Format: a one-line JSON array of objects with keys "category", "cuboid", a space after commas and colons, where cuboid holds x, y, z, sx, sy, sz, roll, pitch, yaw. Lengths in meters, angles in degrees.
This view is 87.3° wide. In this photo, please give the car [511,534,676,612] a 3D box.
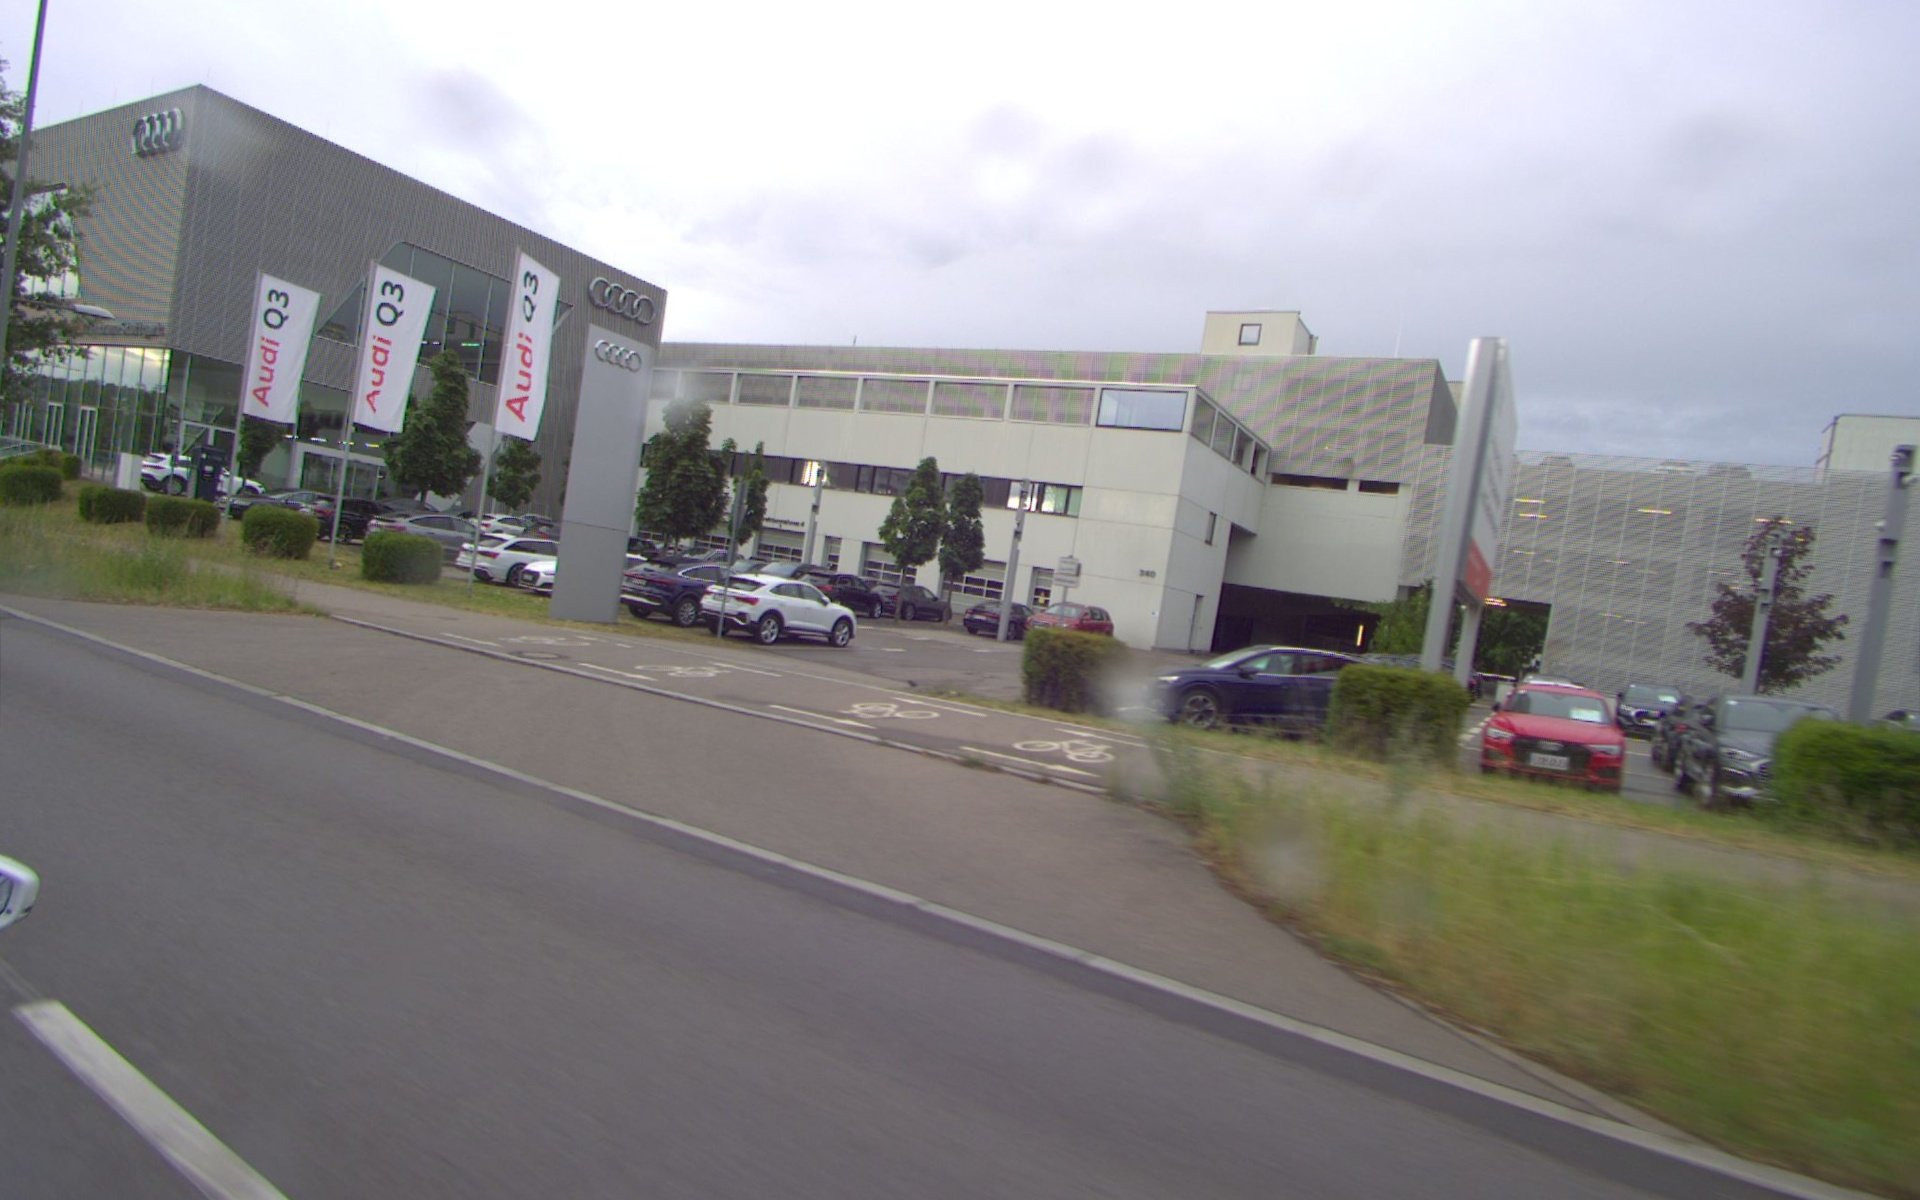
[{"category": "car", "cuboid": [-10.218, -0.702, 28.322, 1.664, 1.612, 4.114, 6, -2, 31]}]

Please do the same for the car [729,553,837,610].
[{"category": "car", "cuboid": [-6.764, -0.679, 38.817, 1.664, 1.592, 4.114, 7, -1, 31]}]

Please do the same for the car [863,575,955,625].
[{"category": "car", "cuboid": [-2.093, 0.018, 42.084, 1.664, 1.593, 4.111, 7, -1, 32]}]

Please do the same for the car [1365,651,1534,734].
[{"category": "car", "cuboid": [13.036, 2.446, 26.968, 3.496, 1.614, 1.770, 7, 2, 0]}]

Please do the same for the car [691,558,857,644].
[{"category": "car", "cuboid": [-4.438, 0.085, 24.697, 1.913, 1.612, 4.119, 6, -2, 24]}]

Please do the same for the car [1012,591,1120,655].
[{"category": "car", "cuboid": [4.097, 0.919, 38.272, 1.969, 1.877, 4.531, 7, -1, 35]}]

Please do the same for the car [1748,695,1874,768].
[{"category": "car", "cuboid": [23.839, 3.627, 28.352, 1.796, 1.612, 4.284, 6, -1, 29]}]

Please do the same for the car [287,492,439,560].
[{"category": "car", "cuboid": [-20.539, -2.519, 34.767, 1.664, 1.592, 4.114, 8, -1, 31]}]

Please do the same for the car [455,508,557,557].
[{"category": "car", "cuboid": [-21.665, -3.212, 48.125, 1.664, 1.592, 4.114, 8, -1, 31]}]

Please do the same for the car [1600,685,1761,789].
[{"category": "car", "cuboid": [14.639, 2.695, 20.713, 1.897, 1.570, 4.470, 6, 0, 27]}]

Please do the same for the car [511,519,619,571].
[{"category": "car", "cuboid": [-17.589, -2.440, 44.948, 1.795, 1.592, 4.114, 8, -1, 31]}]

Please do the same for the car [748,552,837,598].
[{"category": "car", "cuboid": [-7.690, -1.122, 46.538, 1.664, 1.593, 4.113, 7, -1, 30]}]

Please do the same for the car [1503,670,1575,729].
[{"category": "car", "cuboid": [19.155, 3.263, 33.389, 1.796, 1.612, 4.284, 6, -1, 29]}]

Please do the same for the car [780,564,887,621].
[{"category": "car", "cuboid": [-4.637, -0.249, 37.509, 1.664, 1.592, 4.113, 6, -2, 31]}]

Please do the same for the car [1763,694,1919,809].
[{"category": "car", "cuboid": [16.981, 2.801, 18.972, 1.965, 1.670, 3.994, 6, 0, 28]}]

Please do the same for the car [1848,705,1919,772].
[{"category": "car", "cuboid": [26.591, 3.887, 27.992, 1.796, 1.612, 4.284, 6, -1, 29]}]

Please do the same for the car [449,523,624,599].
[{"category": "car", "cuboid": [-12.342, -1.078, 29.605, 1.664, 1.613, 4.527, 6, -1, 31]}]

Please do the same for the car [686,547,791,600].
[{"category": "car", "cuboid": [-8.940, -1.030, 40.866, 1.664, 1.593, 4.112, 8, 0, 31]}]

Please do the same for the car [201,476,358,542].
[{"category": "car", "cuboid": [-25.098, -3.328, 37.264, 1.664, 1.592, 4.430, 8, -1, 31]}]

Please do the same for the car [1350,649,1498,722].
[{"category": "car", "cuboid": [14.014, 2.562, 30.517, 3.496, 1.614, 1.770, 7, 2, 0]}]

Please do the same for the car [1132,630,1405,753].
[{"category": "car", "cuboid": [5.479, 1.602, 18.286, 4.279, 1.613, 1.838, 7, 0, 1]}]

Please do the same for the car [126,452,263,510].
[{"category": "car", "cuboid": [-32.932, -5.097, 43.388, 1.664, 1.592, 4.268, 8, -1, 31]}]

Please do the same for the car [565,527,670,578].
[{"category": "car", "cuboid": [-14.871, -2.041, 43.923, 1.664, 1.593, 4.112, 8, 0, 31]}]

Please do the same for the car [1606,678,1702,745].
[{"category": "car", "cuboid": [20.509, 3.248, 29.900, 1.796, 1.612, 4.284, 6, -1, 29]}]

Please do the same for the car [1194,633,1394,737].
[{"category": "car", "cuboid": [6.971, 1.758, 21.278, 3.496, 1.614, 1.770, 7, 2, 0]}]

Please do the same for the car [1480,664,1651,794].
[{"category": "car", "cuboid": [9.607, 1.965, 16.304, 1.897, 1.569, 4.472, 6, -1, 27]}]

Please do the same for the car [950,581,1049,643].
[{"category": "car", "cuboid": [1.625, 0.520, 39.646, 1.967, 1.898, 3.993, 8, -1, 32]}]

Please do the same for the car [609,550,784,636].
[{"category": "car", "cuboid": [-6.669, -0.135, 25.863, 1.840, 1.612, 4.114, 7, -2, 31]}]

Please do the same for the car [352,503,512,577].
[{"category": "car", "cuboid": [-16.746, -1.871, 32.111, 1.664, 1.627, 4.114, 8, -1, 31]}]

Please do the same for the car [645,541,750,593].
[{"category": "car", "cuboid": [-10.819, -1.342, 41.739, 1.664, 1.593, 4.112, 6, -1, 31]}]

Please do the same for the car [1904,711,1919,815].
[{"category": "car", "cuboid": [14.755, 2.487, 13.562, 1.899, 1.570, 4.466, 6, 0, 31]}]

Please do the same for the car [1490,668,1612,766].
[{"category": "car", "cuboid": [12.843, 2.448, 22.109, 1.897, 1.571, 4.467, 6, 1, 27]}]
